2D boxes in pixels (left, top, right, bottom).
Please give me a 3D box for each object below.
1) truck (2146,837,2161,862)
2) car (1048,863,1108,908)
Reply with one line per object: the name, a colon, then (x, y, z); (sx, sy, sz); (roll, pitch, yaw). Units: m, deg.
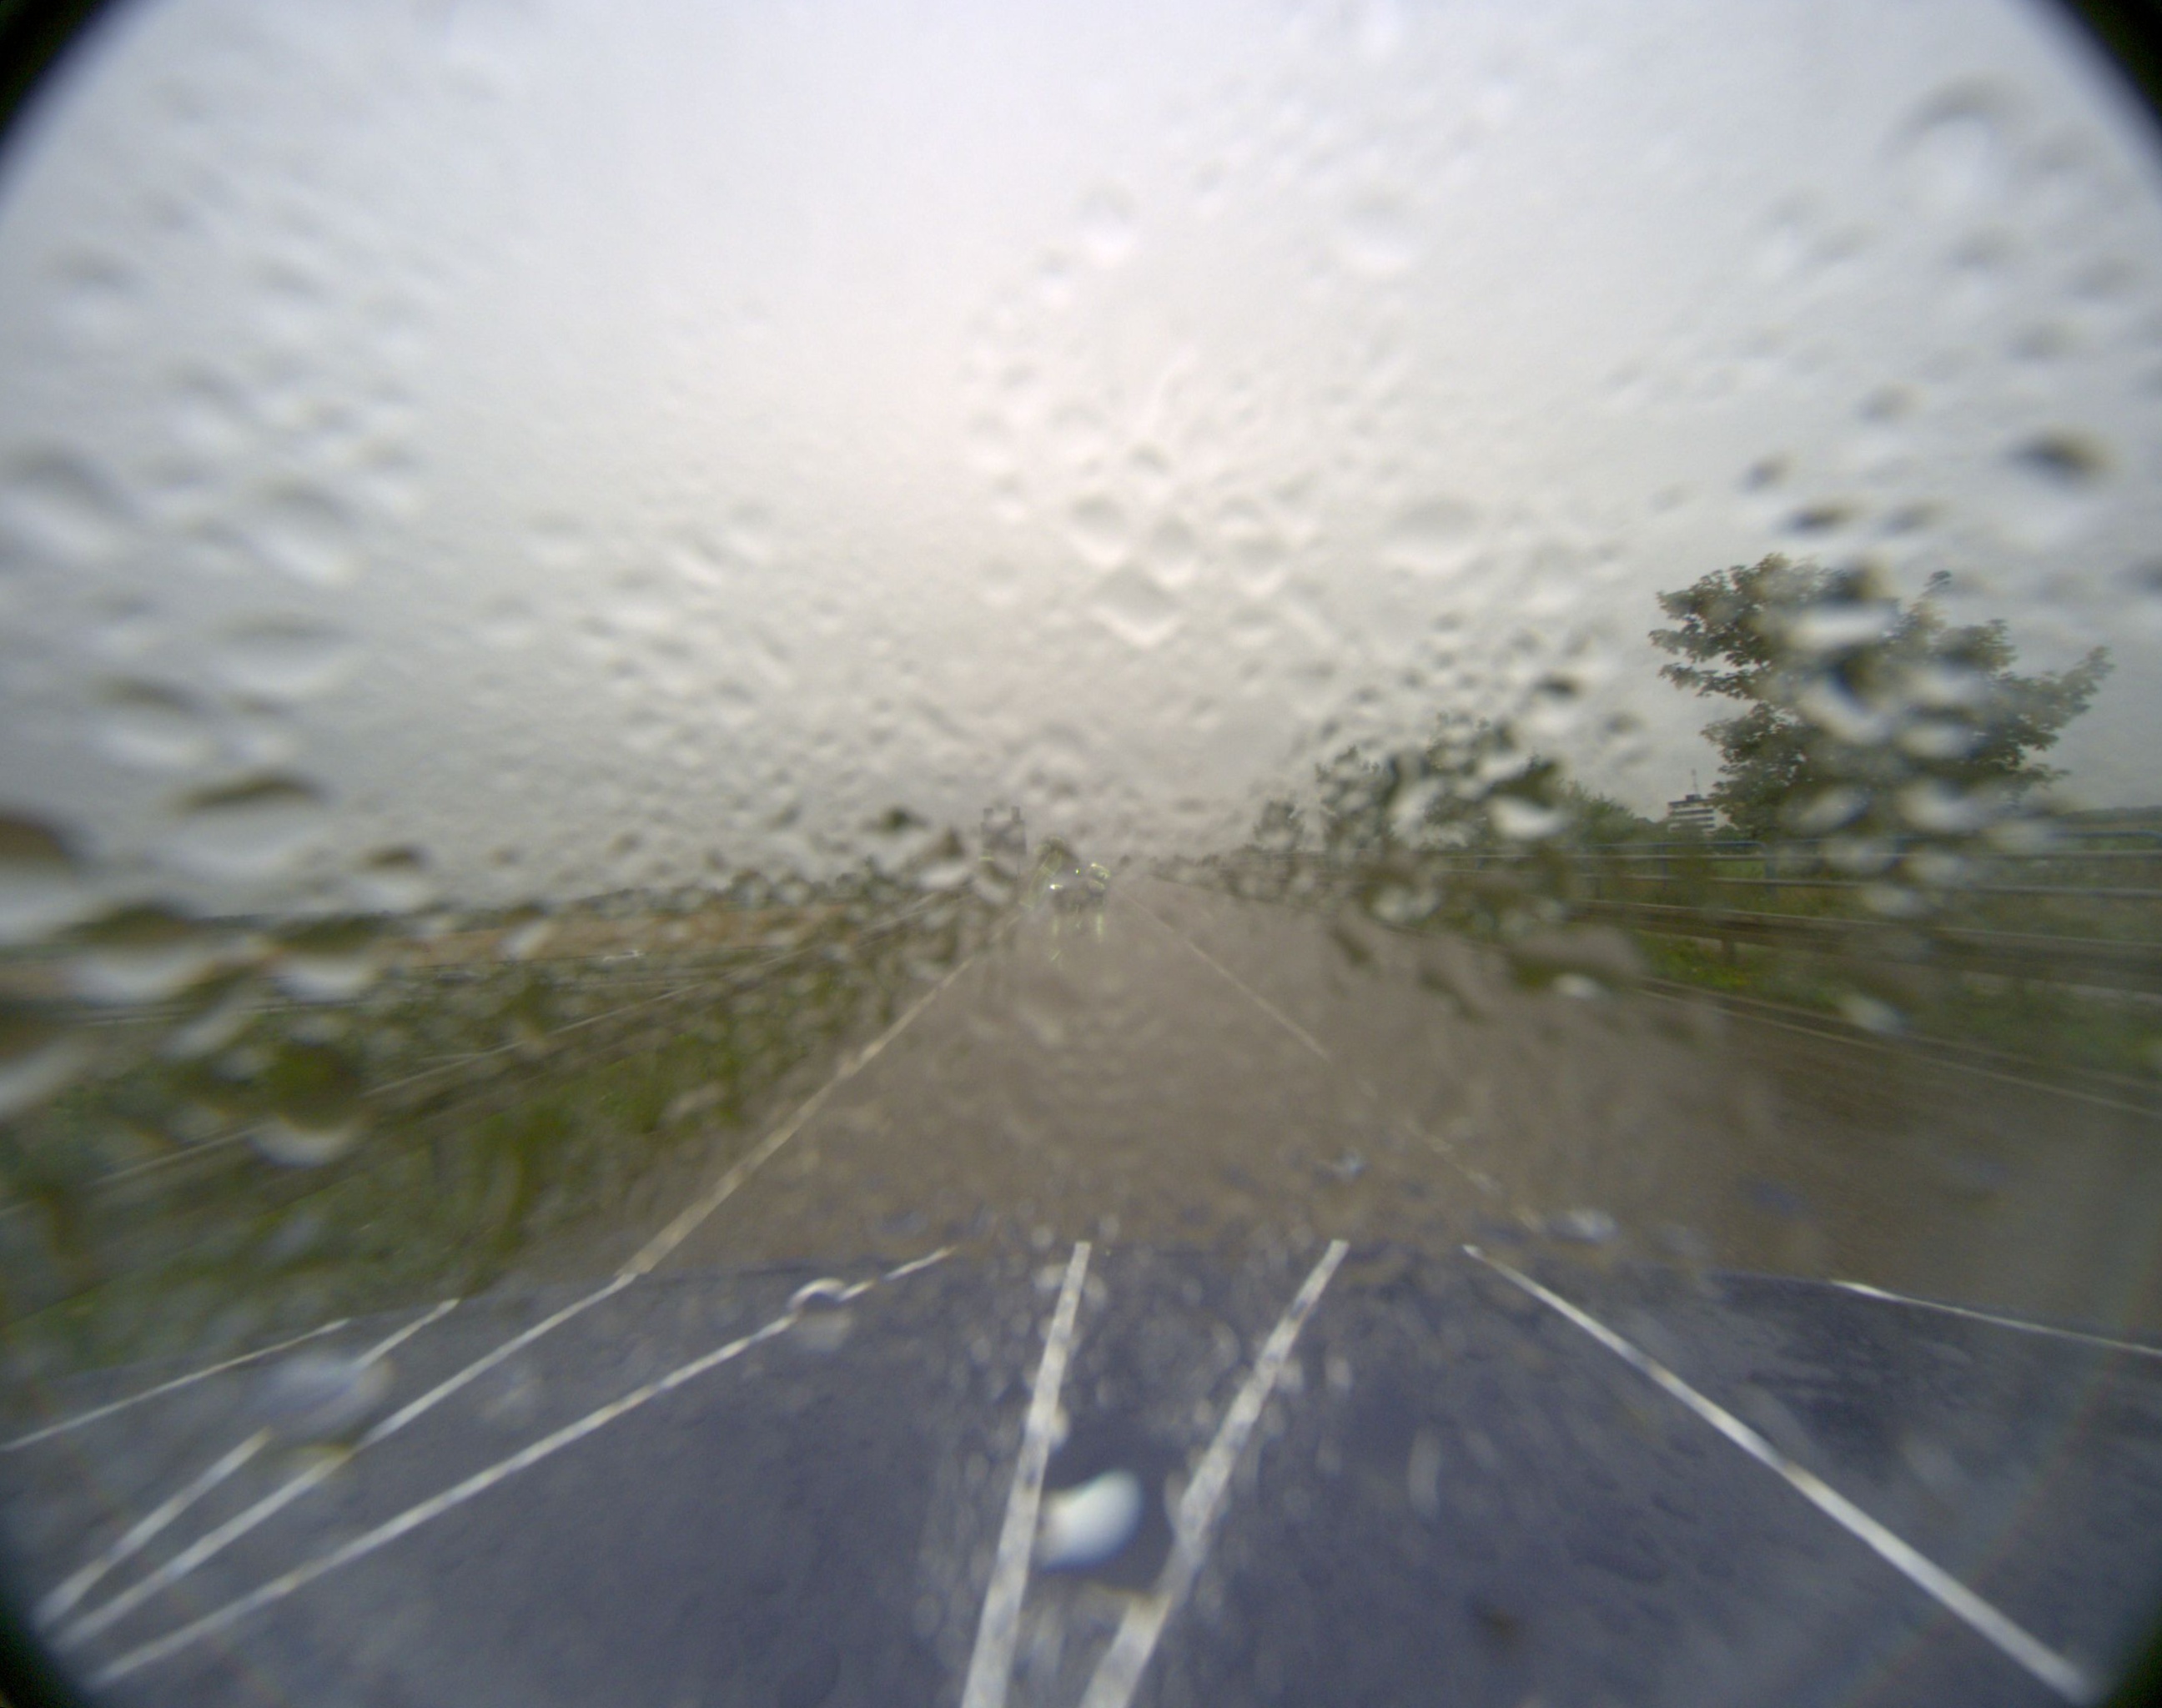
truck: (173.375, -0.920, 118.810); (11.529, 3.922, 3.350); (-3, 0, -11)
car: (-0.036, 1.065, 27.057); (1.909, 1.361, 4.566); (-3, 0, 1)
